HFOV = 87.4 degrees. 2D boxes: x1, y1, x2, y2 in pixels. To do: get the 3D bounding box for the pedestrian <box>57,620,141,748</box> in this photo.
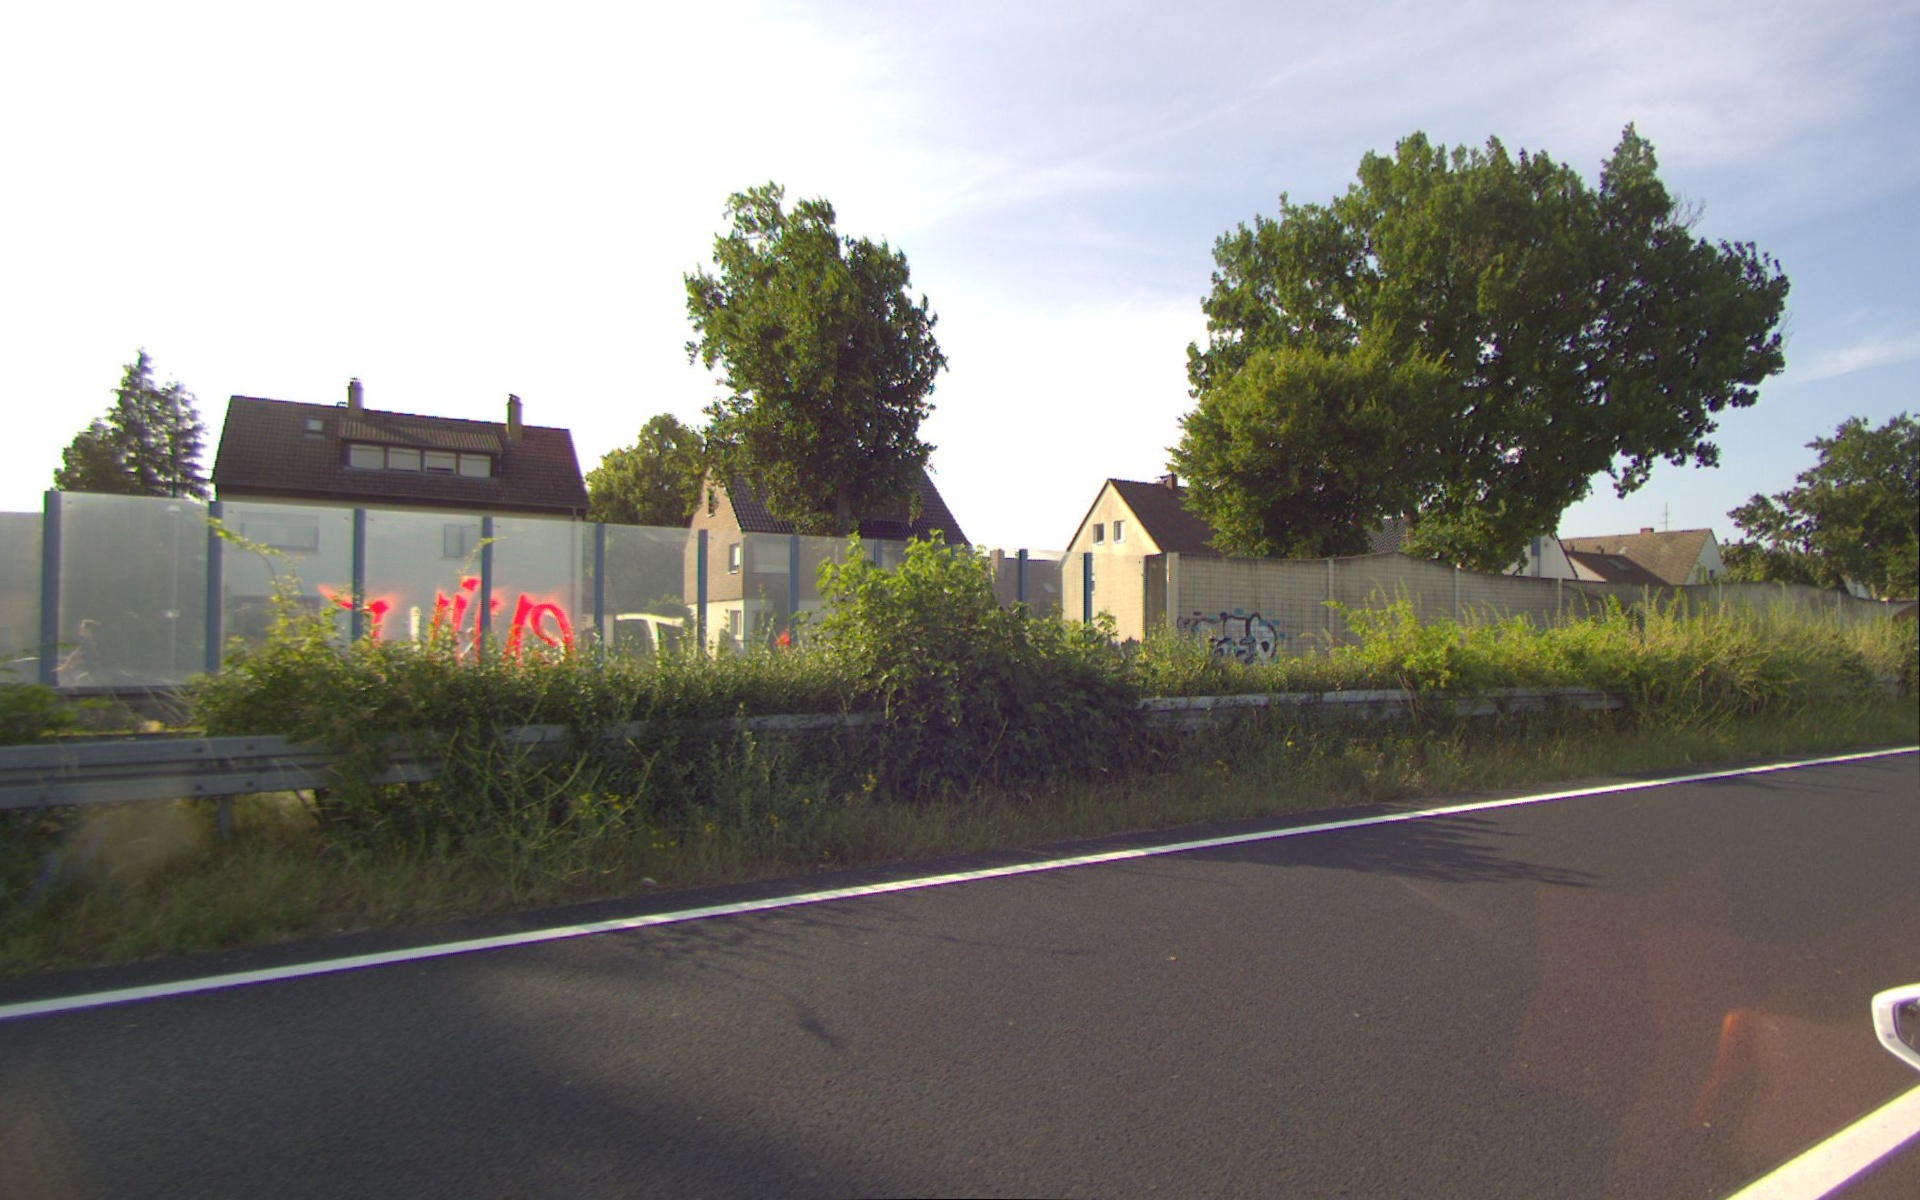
[{"bbox_3d":[-14.560,1.397,17.015,0.922,2.077,0.663,2,0,-30],"label":"pedestrian"}]
